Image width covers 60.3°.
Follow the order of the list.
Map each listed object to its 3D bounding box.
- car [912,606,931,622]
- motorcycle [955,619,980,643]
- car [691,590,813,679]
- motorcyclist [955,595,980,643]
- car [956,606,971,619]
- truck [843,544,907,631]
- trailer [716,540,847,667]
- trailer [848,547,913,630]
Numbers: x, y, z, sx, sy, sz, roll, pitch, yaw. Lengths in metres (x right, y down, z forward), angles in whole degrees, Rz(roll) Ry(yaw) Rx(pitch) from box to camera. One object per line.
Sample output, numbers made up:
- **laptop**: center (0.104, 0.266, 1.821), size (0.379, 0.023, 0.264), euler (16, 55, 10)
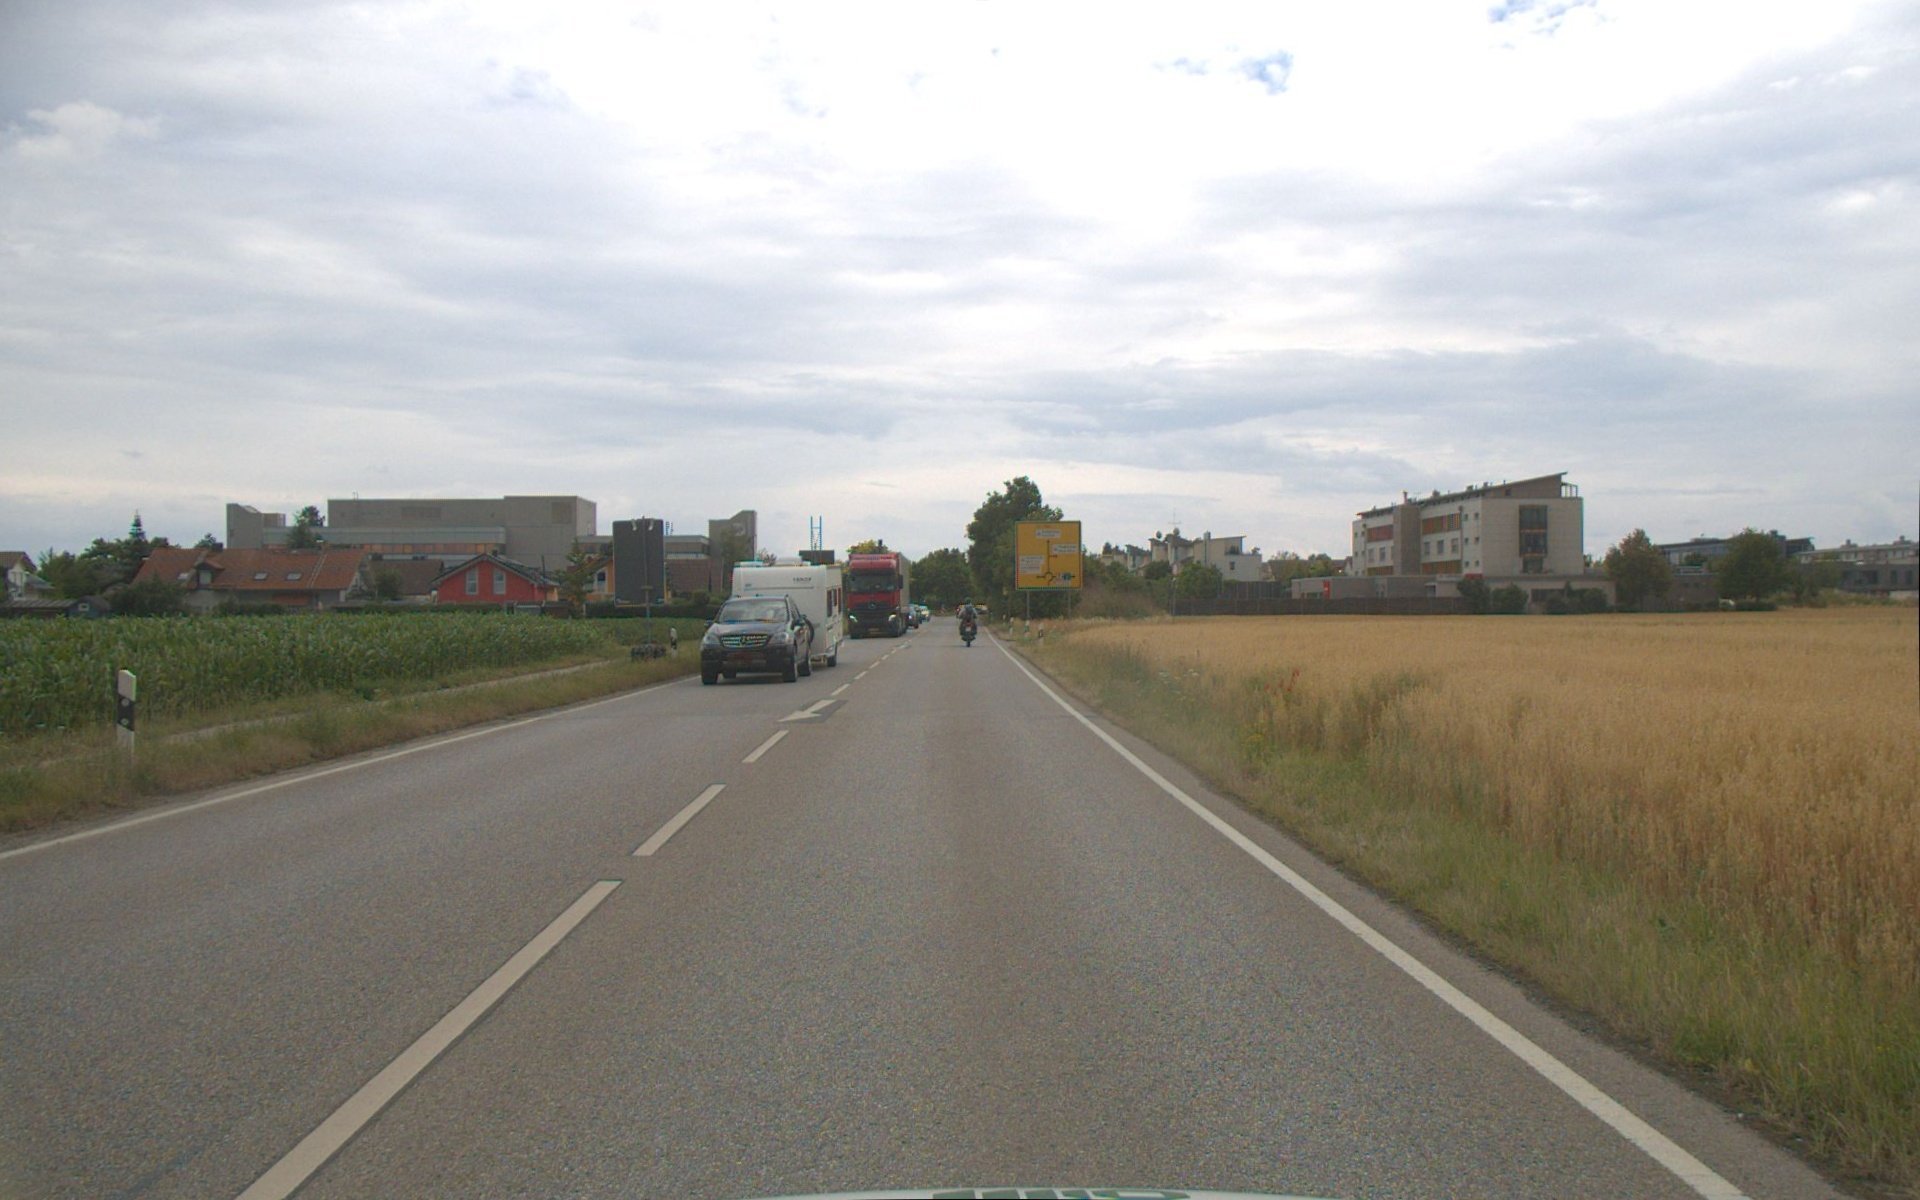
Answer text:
- **car**: center (-3.808, 1.374, 161.853), size (1.817, 1.498, 3.998), euler (0, -1, -2)
- **motorcycle**: center (0.278, 1.153, 62.159), size (0.922, 0.905, 2.145), euler (0, -1, 0)
- **car**: center (-4.254, 0.693, 34.529), size (1.953, 1.729, 4.675), euler (-1, -1, 0)
- **motorcyclist**: center (0.271, 0.704, 62.243), size (0.922, 1.780, 1.200), euler (0, -1, 0)
- **car**: center (0.418, 1.540, 203.681), size (1.817, 1.498, 3.999), euler (0, -1, 0)
- **truck**: center (-4.134, -0.542, 81.563), size (2.673, 4.057, 6.815), euler (-1, -1, 0)
- **trailer**: center (-4.190, 0.112, 40.257), size (2.276, 2.777, 7.842), euler (-1, -1, 0)
- **trailer**: center (-4.096, -0.474, 87.875), size (2.673, 4.015, 13.780), euler (-1, -1, 0)
